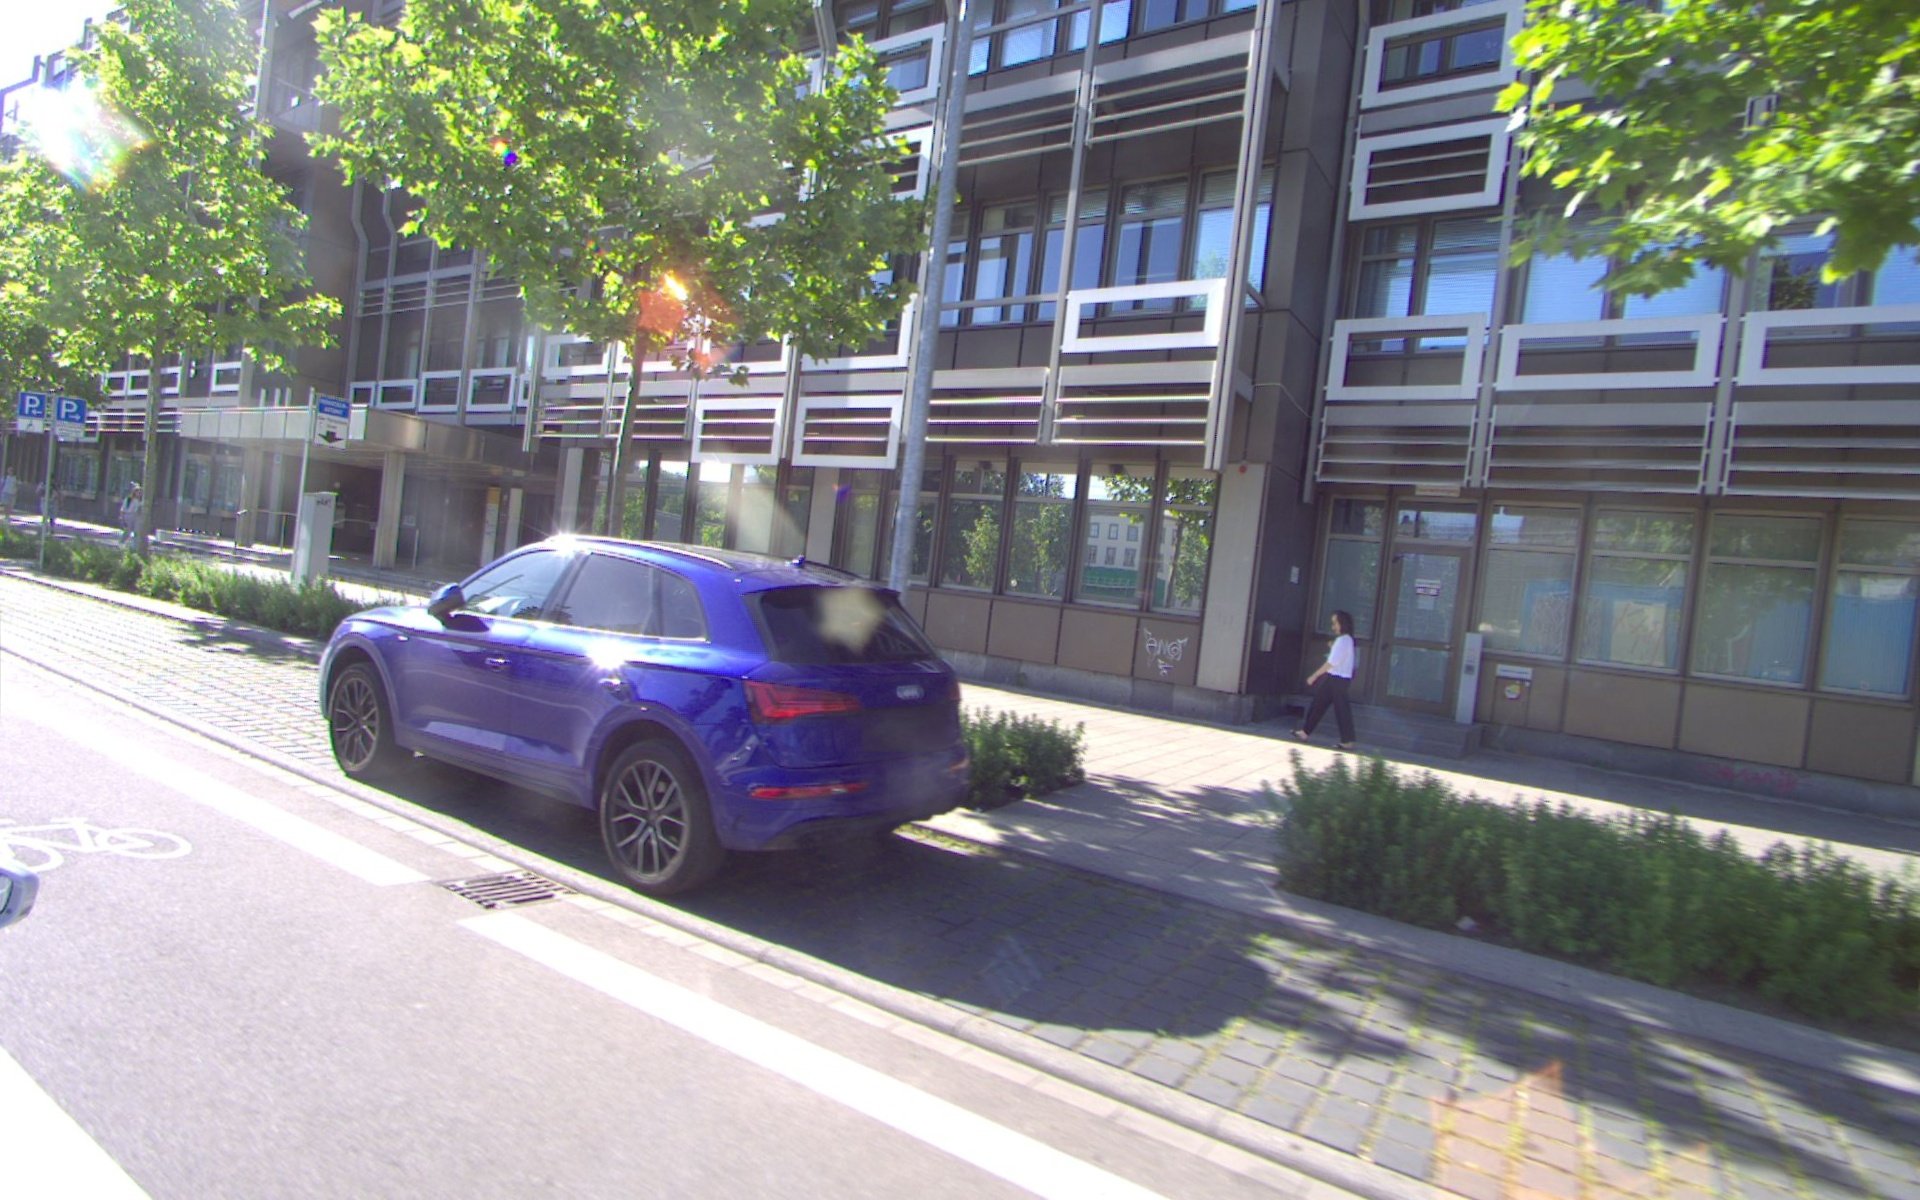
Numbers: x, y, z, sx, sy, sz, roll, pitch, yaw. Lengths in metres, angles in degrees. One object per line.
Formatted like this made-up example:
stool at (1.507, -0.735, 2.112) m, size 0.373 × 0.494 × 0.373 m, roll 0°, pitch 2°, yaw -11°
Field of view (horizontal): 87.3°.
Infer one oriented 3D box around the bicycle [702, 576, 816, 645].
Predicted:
bicycle at (-3.037, 0.184, 15.380) m, size 0.420 × 0.951 × 1.856 m, roll 7°, pitch 2°, yaw 36°

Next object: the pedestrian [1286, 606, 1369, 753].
pedestrian at (4.401, 0.936, 12.058) m, size 0.663 × 1.645 × 0.510 m, roll 8°, pitch 4°, yaw 34°

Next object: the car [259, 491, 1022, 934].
car at (-2.211, 0.387, 6.329) m, size 4.768 × 1.678 × 1.850 m, roll 7°, pitch 2°, yaw 32°

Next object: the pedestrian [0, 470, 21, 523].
pedestrian at (-32.809, -3.568, 34.611) m, size 0.761 × 1.724 × 0.510 m, roll 8°, pitch 3°, yaw 34°

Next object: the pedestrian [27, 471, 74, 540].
pedestrian at (-24.845, -2.577, 27.476) m, size 0.790 × 1.749 × 0.648 m, roll 8°, pitch 1°, yaw 34°

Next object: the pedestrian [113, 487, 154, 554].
pedestrian at (-19.613, -1.890, 23.867) m, size 0.724 × 1.494 × 0.510 m, roll 8°, pitch 3°, yaw 34°
